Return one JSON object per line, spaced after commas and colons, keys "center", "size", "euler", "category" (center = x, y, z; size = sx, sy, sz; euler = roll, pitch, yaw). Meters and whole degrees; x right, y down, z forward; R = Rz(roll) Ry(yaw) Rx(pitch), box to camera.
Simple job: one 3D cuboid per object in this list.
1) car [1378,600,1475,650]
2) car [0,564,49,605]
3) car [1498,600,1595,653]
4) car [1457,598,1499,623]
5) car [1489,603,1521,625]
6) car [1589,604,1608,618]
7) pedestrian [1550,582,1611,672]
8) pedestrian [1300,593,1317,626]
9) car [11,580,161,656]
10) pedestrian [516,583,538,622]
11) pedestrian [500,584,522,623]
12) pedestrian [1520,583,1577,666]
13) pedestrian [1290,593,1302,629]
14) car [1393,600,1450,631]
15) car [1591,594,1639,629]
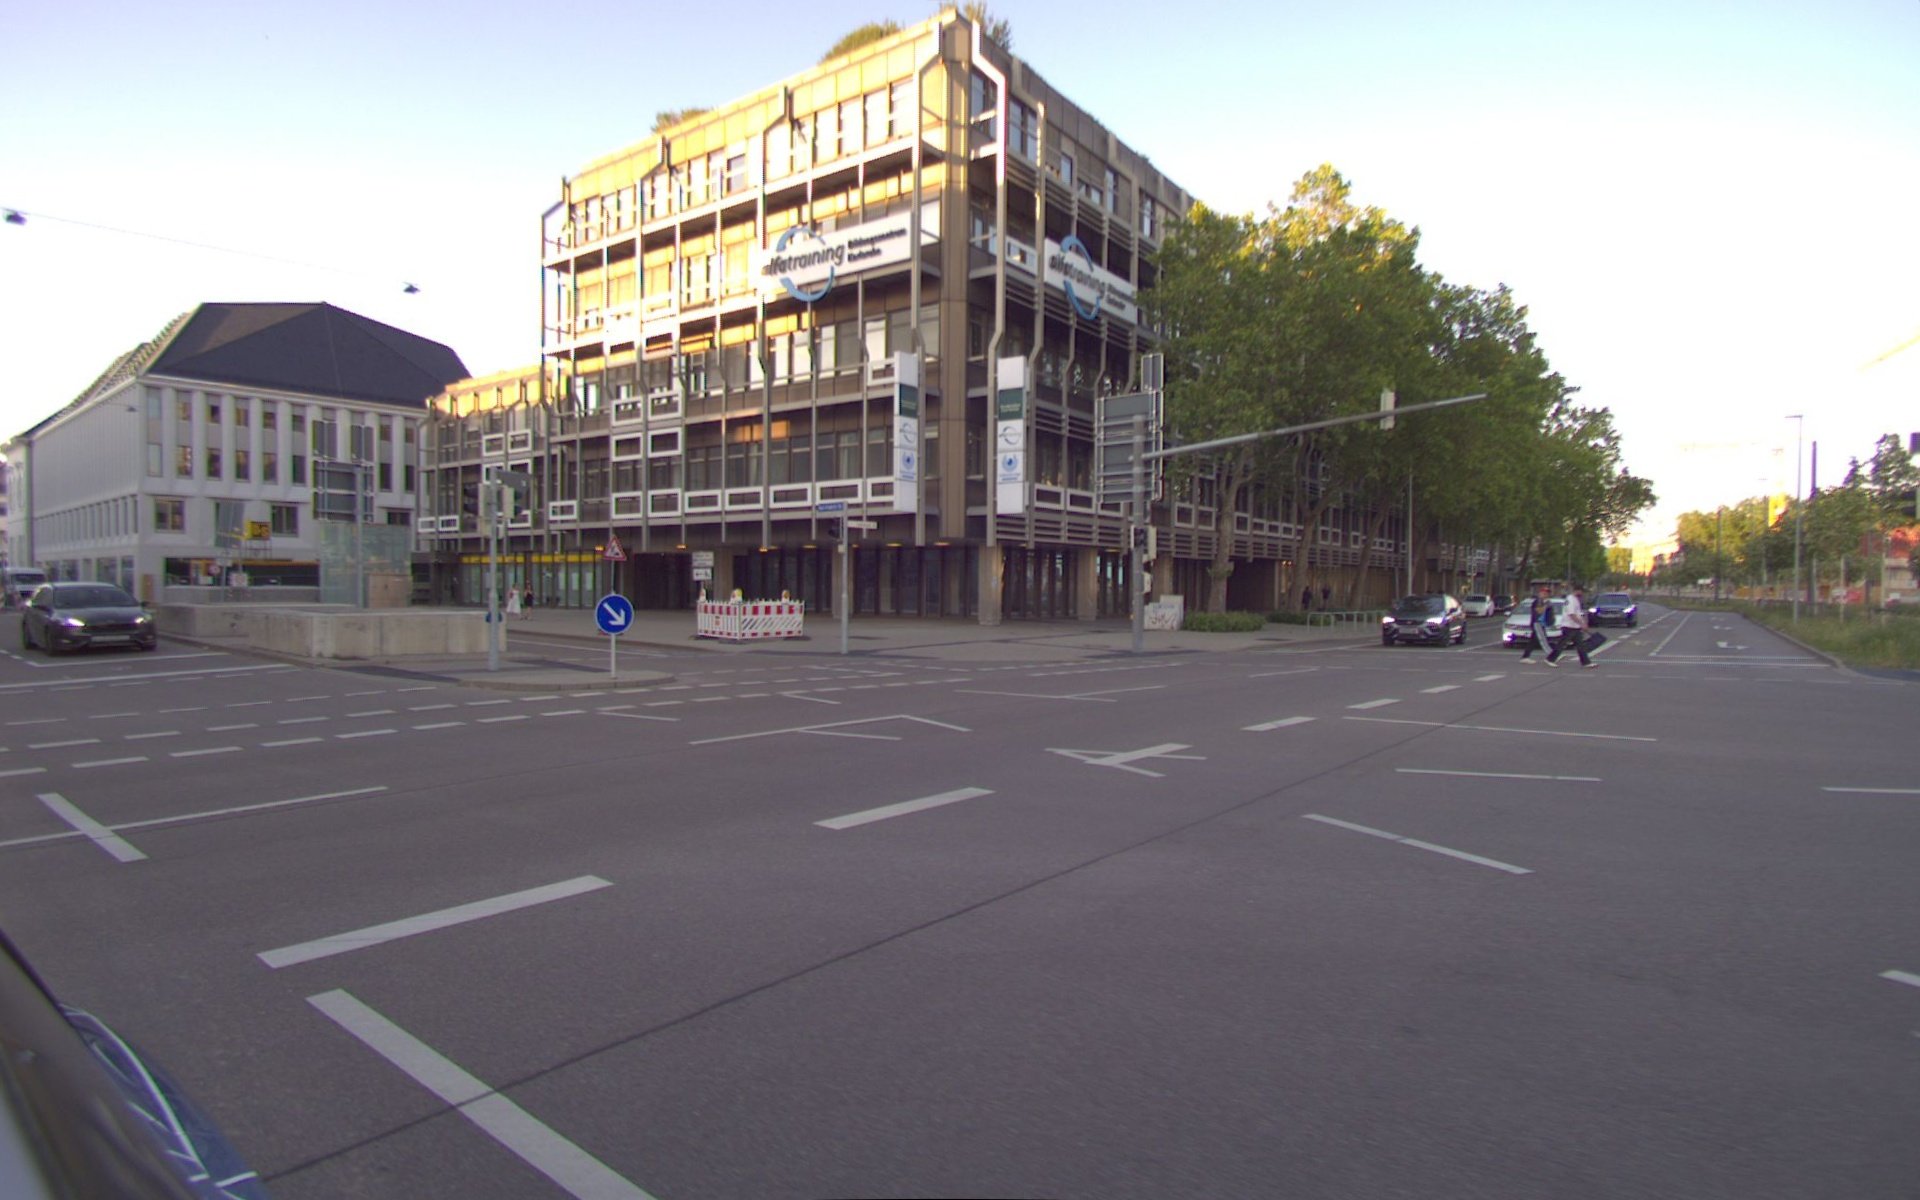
{"center": [14.637, 0.741, 31.651], "size": [1.850, 1.468, 3.900], "euler": [0, 0, 39], "category": "car"}
{"center": [-61.007, -1.014, 65.600], "size": [6.046, 2.575, 2.114], "euler": [1, 1, 40], "category": "car"}
{"center": [17.670, 0.725, 30.398], "size": [1.849, 1.468, 4.531], "euler": [0, 0, 39], "category": "car"}
{"center": [33.903, 0.689, 66.226], "size": [1.740, 1.596, 3.747], "euler": [0, 0, 38], "category": "car"}
{"center": [40.631, 0.993, 75.421], "size": [1.737, 1.596, 4.539], "euler": [0, 0, 33], "category": "car"}
{"center": [72.011, 1.245, 114.187], "size": [1.737, 1.596, 4.539], "euler": [0, 0, 33], "category": "car"}
{"center": [12.408, 0.517, 20.230], "size": [0.957, 1.734, 0.813], "euler": [1, 0, 36], "category": "pedestrian"}
{"center": [19.907, 0.524, 57.813], "size": [0.755, 1.819, 0.714], "euler": [2, 3, 35], "category": "pedestrian"}
{"center": [-19.063, 0.319, 22.019], "size": [4.376, 1.473, 1.740], "euler": [1, 2, 39], "category": "car"}
{"center": [-18.432, 0.109, 43.055], "size": [0.702, 1.651, 0.608], "euler": [1, 0, 40], "category": "pedestrian"}
{"center": [-18.891, 0.146, 42.560], "size": [0.583, 1.651, 0.662], "euler": [1, 0, 40], "category": "pedestrian"}
{"center": [12.566, 0.503, 21.610], "size": [0.957, 1.734, 0.813], "euler": [1, 0, 36], "category": "pedestrian"}
{"center": [19.450, 0.646, 58.552], "size": [0.516, 2.028, 0.575], "euler": [2, 3, 35], "category": "pedestrian"}
{"center": [25.109, 0.798, 55.034], "size": [1.740, 1.596, 4.531], "euler": [0, 0, 39], "category": "car"}
{"center": [31.415, 0.523, 48.463], "size": [1.847, 1.596, 4.538], "euler": [0, 0, 34], "category": "car"}
